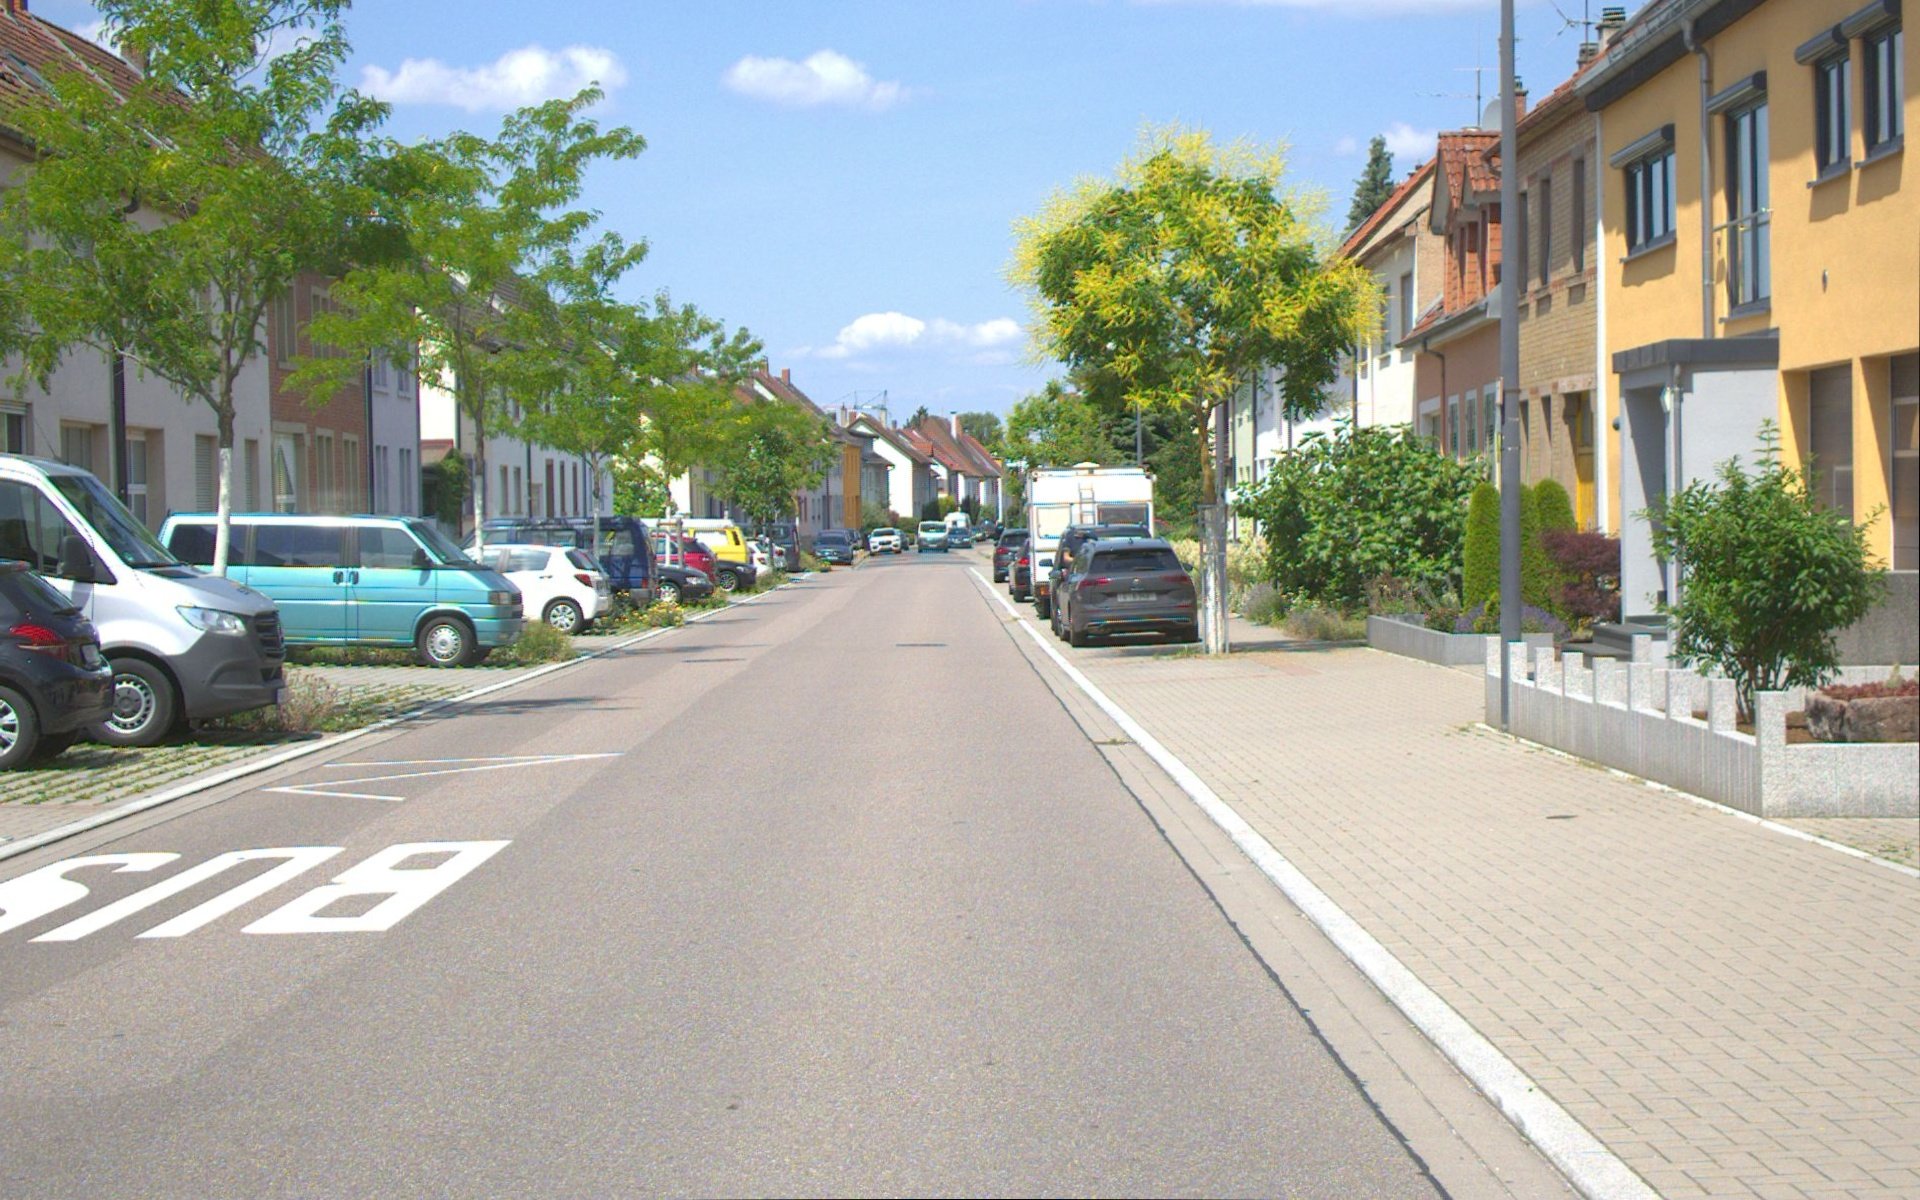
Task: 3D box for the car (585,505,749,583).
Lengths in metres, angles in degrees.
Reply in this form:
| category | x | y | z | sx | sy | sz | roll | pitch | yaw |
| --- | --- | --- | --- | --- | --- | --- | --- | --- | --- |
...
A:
| category | x | y | z | sx | sy | sz | roll | pitch | yaw |
| --- | --- | --- | --- | --- | --- | --- | --- | --- | --- |
| car | -8.302 | -1.599 | 97.728 | 4.508 | 2.170 | 1.925 | 0 | 1 | 0 |

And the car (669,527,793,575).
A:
| category | x | y | z | sx | sy | sz | roll | pitch | yaw |
| --- | --- | --- | --- | --- | --- | --- | --- | --- | --- |
| car | -7.796 | -1.664 | 117.061 | 4.182 | 1.563 | 1.774 | 1 | 1 | -3 |

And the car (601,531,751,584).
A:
| category | x | y | z | sx | sy | sz | roll | pitch | yaw |
| --- | --- | --- | --- | --- | --- | --- | --- | --- | --- |
| car | -7.847 | -1.187 | 95.188 | 4.010 | 1.454 | 1.755 | 0 | 1 | 0 |

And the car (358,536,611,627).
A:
| category | x | y | z | sx | sy | sz | roll | pitch | yaw |
| --- | --- | --- | --- | --- | --- | --- | --- | --- | --- |
| car | -7.861 | -0.320 | 57.045 | 3.916 | 1.483 | 1.772 | 0 | 1 | 2 |

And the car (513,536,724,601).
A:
| category | x | y | z | sx | sy | sz | roll | pitch | yaw |
| --- | --- | --- | --- | --- | --- | --- | --- | --- | --- |
| car | -7.578 | -0.718 | 76.622 | 4.524 | 1.420 | 1.796 | 0 | 1 | 0 |

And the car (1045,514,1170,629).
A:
| category | x | y | z | sx | sy | sz | roll | pitch | yaw |
| --- | --- | --- | --- | --- | --- | --- | --- | --- | --- |
| car | 2.262 | -0.469 | 53.584 | 1.767 | 1.699 | 4.325 | -1 | 1 | 0 |

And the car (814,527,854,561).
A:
| category | x | y | z | sx | sy | sz | roll | pitch | yaw |
| --- | --- | --- | --- | --- | --- | --- | --- | --- | --- |
| car | -6.044 | -2.675 | 164.780 | 1.816 | 1.428 | 4.140 | 3 | 2 | -3 |

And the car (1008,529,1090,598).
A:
| category | x | y | z | sx | sy | sz | roll | pitch | yaw |
| --- | --- | --- | --- | --- | --- | --- | --- | --- | --- |
| car | 2.021 | -0.850 | 78.952 | 1.767 | 1.524 | 4.007 | -1 | 1 | 0 |

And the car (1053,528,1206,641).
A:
| category | x | y | z | sx | sy | sz | roll | pitch | yaw |
| --- | --- | --- | --- | --- | --- | --- | --- | --- | --- |
| car | 2.314 | -0.244 | 47.861 | 1.766 | 1.483 | 4.297 | -1 | 1 | -2 |

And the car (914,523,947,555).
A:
| category | x | y | z | sx | sy | sz | roll | pitch | yaw |
| --- | --- | --- | --- | --- | --- | --- | --- | --- | --- |
| car | -1.887 | -3.844 | 216.609 | 2.022 | 1.943 | 4.899 | -1 | 1 | -1 |

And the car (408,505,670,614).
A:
| category | x | y | z | sx | sy | sz | roll | pitch | yaw |
| --- | --- | --- | --- | --- | --- | --- | --- | --- | --- |
| car | -7.825 | -0.768 | 64.173 | 4.613 | 1.989 | 1.953 | 0 | 1 | 2 |

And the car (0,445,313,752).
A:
| category | x | y | z | sx | sy | sz | roll | pitch | yaw |
| --- | --- | --- | --- | --- | --- | --- | --- | --- | --- |
| car | -7.811 | -0.047 | 26.766 | 5.166 | 2.280 | 2.157 | 1 | 1 | -2 |

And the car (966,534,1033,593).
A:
| category | x | y | z | sx | sy | sz | roll | pitch | yaw |
| --- | --- | --- | --- | --- | --- | --- | --- | --- | --- |
| car | 1.233 | -1.150 | 106.037 | 1.864 | 1.630 | 4.446 | -3 | 2 | 2 |

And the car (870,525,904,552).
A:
| category | x | y | z | sx | sy | sz | roll | pitch | yaw |
| --- | --- | --- | --- | --- | --- | --- | --- | --- | --- |
| car | -4.526 | -3.816 | 213.758 | 1.850 | 1.653 | 4.000 | 1 | 1 | 3 |

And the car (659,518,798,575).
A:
| category | x | y | z | sx | sy | sz | roll | pitch | yaw |
| --- | --- | --- | --- | --- | --- | --- | --- | --- | --- |
| car | -8.060 | -1.848 | 119.785 | 4.700 | 1.916 | 1.938 | 1 | 0 | 0 |

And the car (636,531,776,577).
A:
| category | x | y | z | sx | sy | sz | roll | pitch | yaw |
| --- | --- | --- | --- | --- | --- | --- | --- | --- | --- |
| car | -8.125 | -1.480 | 110.185 | 4.295 | 1.463 | 1.774 | 0 | 0 | 2 |

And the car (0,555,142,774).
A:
| category | x | y | z | sx | sy | sz | roll | pitch | yaw |
| --- | --- | --- | --- | --- | --- | --- | --- | --- | --- |
| car | -7.872 | 0.430 | 23.821 | 3.986 | 1.441 | 1.902 | 0 | 1 | -3 |

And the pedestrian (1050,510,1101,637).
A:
| category | x | y | z | sx | sy | sz | roll | pitch | yaw |
| --- | --- | --- | --- | --- | --- | --- | --- | --- | --- |
| pedestrian | 1.702 | -0.394 | 50.796 | 0.716 | 1.846 | 0.578 | -1 | 1 | 0 |

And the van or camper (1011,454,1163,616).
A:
| category | x | y | z | sx | sy | sz | roll | pitch | yaw |
| --- | --- | --- | --- | --- | --- | --- | --- | --- | --- |
| van or camper | 2.298 | -1.233 | 63.916 | 2.473 | 2.800 | 5.791 | -2 | 2 | 0 |

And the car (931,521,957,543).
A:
| category | x | y | z | sx | sy | sz | roll | pitch | yaw |
| --- | --- | --- | --- | --- | --- | --- | --- | --- | --- |
| car | -1.131 | -4.881 | 246.422 | 1.762 | 1.517 | 4.049 | -3 | 1 | -1 |

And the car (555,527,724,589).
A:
| category | x | y | z | sx | sy | sz | roll | pitch | yaw |
| --- | --- | --- | --- | --- | --- | --- | --- | --- | --- |
| car | -8.336 | -1.107 | 89.731 | 4.253 | 1.606 | 1.843 | 0 | 1 | -1 |

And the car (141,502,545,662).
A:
| category | x | y | z | sx | sy | sz | roll | pitch | yaw |
| --- | --- | --- | --- | --- | --- | --- | --- | --- | --- |
| car | -7.678 | -0.231 | 43.104 | 4.677 | 1.900 | 2.000 | 1 | 0 | 1 |

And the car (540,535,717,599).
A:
| category | x | y | z | sx | sy | sz | roll | pitch | yaw |
| --- | --- | --- | --- | --- | --- | --- | --- | --- | --- |
| car | -7.735 | -0.782 | 80.457 | 4.053 | 1.473 | 1.776 | 0 | 1 | -2 |
